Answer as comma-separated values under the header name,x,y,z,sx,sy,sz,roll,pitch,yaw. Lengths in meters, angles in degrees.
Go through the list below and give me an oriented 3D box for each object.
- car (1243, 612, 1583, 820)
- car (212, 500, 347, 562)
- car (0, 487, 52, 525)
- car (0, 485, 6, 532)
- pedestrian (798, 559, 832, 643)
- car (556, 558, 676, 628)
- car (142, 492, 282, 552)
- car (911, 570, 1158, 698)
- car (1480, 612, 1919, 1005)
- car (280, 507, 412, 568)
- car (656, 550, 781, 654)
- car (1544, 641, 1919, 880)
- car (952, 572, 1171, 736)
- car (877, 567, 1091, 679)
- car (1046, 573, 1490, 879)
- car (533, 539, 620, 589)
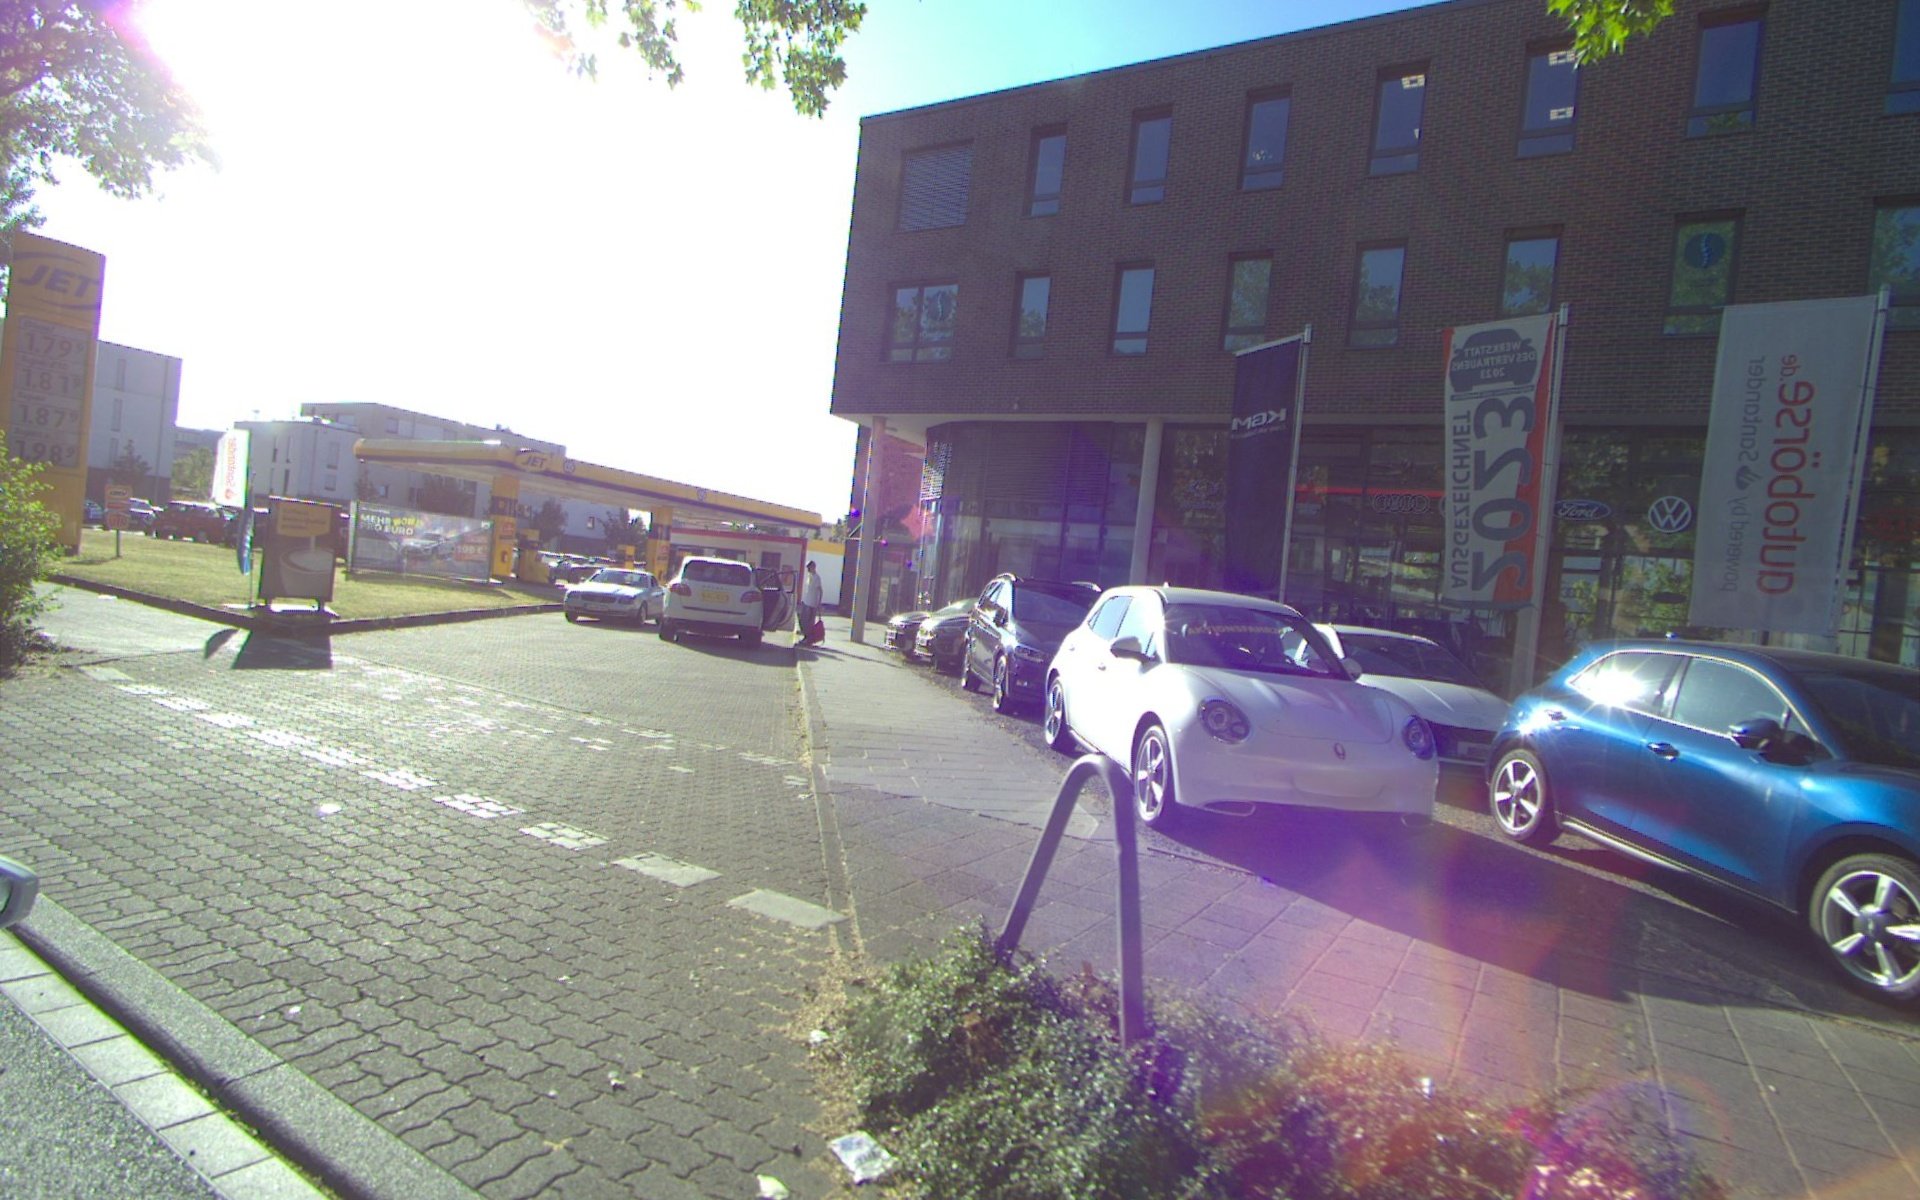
name,x,y,z,sx,sy,sz,roll,pitch,yaw
car,4.517,1.052,10.738,1.613,1.530,3.815,6,1,-3
car,-23.805,-2.366,35.366,1.806,1.733,3.837,6,1,5
car,-46.649,-4.687,48.404,1.777,1.548,3.993,5,-1,30
car,-10.791,-0.482,9.529,3.541,1.615,1.562,6,-1,31
pedestrian,-3.048,0.017,21.129,0.547,1.699,0.648,6,2,-9
car,-7.918,-0.109,23.499,1.659,1.339,3.564,6,-2,-4
car,-27.918,-2.860,37.702,1.806,1.733,3.837,6,1,14
car,1.240,0.568,17.900,3.931,1.774,1.862,6,1,-8
car,5.011,1.031,5.746,1.710,1.599,3.814,6,1,-5
car,-20.257,-2.022,33.374,1.666,1.609,3.837,6,1,5
car,-5.019,-0.014,20.707,2.128,1.741,3.986,6,1,-16
car,7.603,1.361,9.546,1.613,1.530,3.815,6,1,-3
car,1.098,0.574,13.005,1.742,1.622,4.137,6,0,-8
car,0.421,0.445,20.328,3.931,1.774,1.862,6,1,-9
car,1.955,0.700,7.699,1.716,1.599,3.813,6,1,-7
car,-19.409,-1.814,50.914,3.933,2.039,1.995,7,1,31
